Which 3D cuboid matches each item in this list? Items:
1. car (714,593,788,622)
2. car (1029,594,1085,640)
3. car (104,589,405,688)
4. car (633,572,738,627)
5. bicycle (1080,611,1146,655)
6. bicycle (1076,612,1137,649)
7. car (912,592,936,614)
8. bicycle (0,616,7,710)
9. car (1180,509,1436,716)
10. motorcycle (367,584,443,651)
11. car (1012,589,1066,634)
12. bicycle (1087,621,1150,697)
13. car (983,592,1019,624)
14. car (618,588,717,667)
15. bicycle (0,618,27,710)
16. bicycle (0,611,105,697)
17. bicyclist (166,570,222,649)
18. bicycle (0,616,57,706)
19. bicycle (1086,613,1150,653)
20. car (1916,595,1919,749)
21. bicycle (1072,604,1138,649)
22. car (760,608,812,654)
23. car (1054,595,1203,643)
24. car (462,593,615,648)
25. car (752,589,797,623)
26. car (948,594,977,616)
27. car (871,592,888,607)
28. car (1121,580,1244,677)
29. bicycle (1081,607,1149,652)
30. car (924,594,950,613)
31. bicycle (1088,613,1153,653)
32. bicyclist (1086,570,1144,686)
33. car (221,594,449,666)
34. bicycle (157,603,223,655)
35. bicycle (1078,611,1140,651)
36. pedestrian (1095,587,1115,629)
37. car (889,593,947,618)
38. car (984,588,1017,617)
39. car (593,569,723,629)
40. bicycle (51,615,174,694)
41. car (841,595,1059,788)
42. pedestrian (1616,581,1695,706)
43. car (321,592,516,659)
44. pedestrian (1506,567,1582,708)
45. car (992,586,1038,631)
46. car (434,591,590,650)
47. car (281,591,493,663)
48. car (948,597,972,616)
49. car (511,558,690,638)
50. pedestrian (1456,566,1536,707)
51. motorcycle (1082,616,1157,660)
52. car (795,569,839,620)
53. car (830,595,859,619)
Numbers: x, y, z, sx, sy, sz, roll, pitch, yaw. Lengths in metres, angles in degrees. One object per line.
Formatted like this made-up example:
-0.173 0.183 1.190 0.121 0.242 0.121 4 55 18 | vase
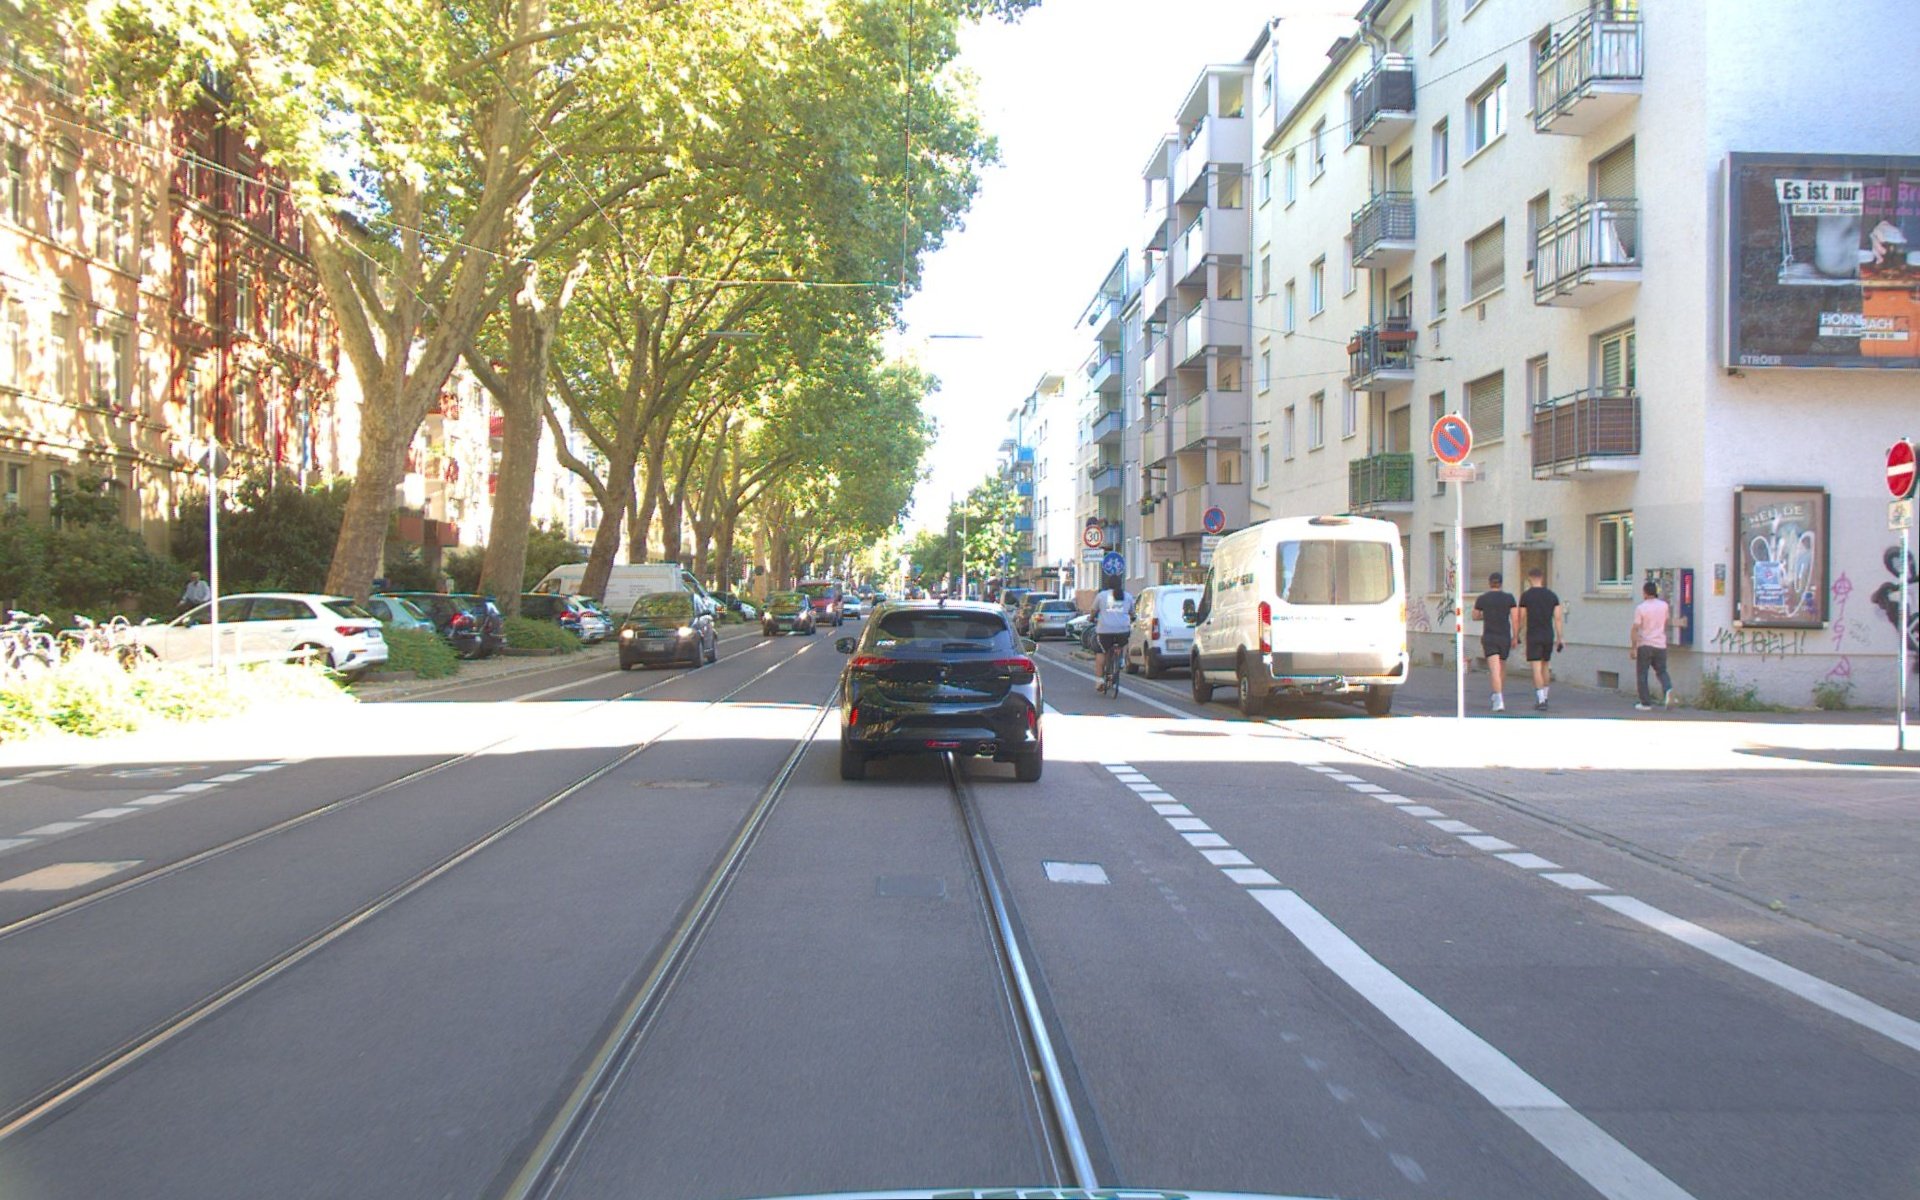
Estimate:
-11.500 0.392 91.241 3.908 1.548 1.770 0 0 -4 | car
3.400 0.571 58.818 1.689 1.552 4.512 0 0 -1 | car
-10.976 0.598 25.957 3.907 1.486 1.877 0 -1 -3 | car
-13.217 -0.026 79.835 4.847 2.612 2.080 0 0 -6 | car
3.954 0.856 42.815 1.619 1.073 0.457 -2 0 -3 | bicycle
4.061 0.845 45.812 1.619 0.983 0.457 -2 0 -3 | bicycle
-2.770 0.233 128.406 1.820 1.680 3.999 0 0 -1 | car
-12.067 0.736 19.597 1.525 1.107 0.397 0 0 16 | bicycle
4.727 0.161 23.539 2.106 2.539 6.085 1 0 -3 | car
-14.543 0.446 43.469 1.031 1.659 3.010 2 -1 -2 | motorcycle
3.099 0.427 65.441 1.731 1.734 4.280 0 0 -3 | car
2.475 0.902 26.039 0.687 1.111 1.989 2 -1 -3 | bicycle
2.238 0.425 91.262 1.820 1.680 3.999 0 0 -1 | car
-5.971 0.539 34.076 1.603 1.536 3.689 0 0 -4 | car
-12.303 0.777 20.435 1.525 1.107 0.397 0 0 16 | bicycle
-12.485 0.711 22.200 1.878 1.107 0.598 0 0 16 | bicycle
-17.703 0.208 38.228 0.814 1.794 1.048 0 0 -3 | bicyclist
-12.204 0.753 20.921 1.525 1.107 0.397 0 0 16 | bicycle
4.182 0.864 43.900 1.619 1.004 0.457 -2 0 -3 | bicycle
11.782 0.782 16.389 3.575 1.601 1.790 1 1 0 | car
4.050 0.735 46.289 1.787 1.212 0.457 -2 0 -3 | bicycle
-6.169 1.083 58.945 1.684 1.536 3.720 0 0 -4 | car
5.501 0.605 54.170 4.534 1.462 1.858 -1 0 -14 | car
-11.979 0.567 47.168 3.906 1.522 1.830 0 0 -2 | car
-9.678 0.301 86.572 1.953 1.730 4.482 -1 0 -2 | car
0.168 0.342 123.458 1.685 1.601 4.079 0 0 -6 | car
-8.785 -0.045 181.562 1.714 1.680 3.999 0 0 -1 | car
4.473 0.536 33.865 1.821 1.852 4.349 0 0 -2 | car
4.167 0.789 44.589 1.757 1.168 0.704 -2 0 1 | bicycle
-2.067 0.302 147.981 1.955 1.668 3.995 0 0 -6 | car
4.208 0.865 43.363 1.619 1.004 0.457 -2 0 -3 | bicycle
2.434 0.436 26.031 0.771 1.790 0.914 1 0 -3 | bicyclist
-12.388 0.579 32.925 3.905 1.393 1.605 0 0 -1 | car
-17.743 0.657 38.154 0.727 1.158 1.779 0 0 -2 | bicycle
4.068 0.842 45.289 1.619 1.038 0.457 -2 0 -3 | bicycle
6.038 0.326 68.953 0.741 1.750 0.719 0 0 -4 | pedestrian
-2.863 0.368 113.213 3.907 1.680 1.864 0 0 -3 | car
2.420 0.158 98.865 1.820 1.680 3.999 0 0 -1 | car
-12.969 -0.027 71.241 5.252 2.521 2.056 0 0 -2 | car
-11.983 0.757 23.366 1.765 1.061 0.597 0 0 25 | bicycle
-0.152 0.712 14.612 1.646 1.447 3.626 2 0 -3 | car
9.226 0.572 21.965 0.619 1.608 0.933 2 -1 0 | pedestrian
-12.408 0.577 38.027 3.905 1.486 1.704 0 0 -1 | car
7.906 0.503 22.418 0.612 1.854 1.082 -1 -1 0 | pedestrian
2.442 0.361 74.273 1.820 1.923 4.924 0 0 -1 | car
-12.034 0.529 44.545 3.716 1.486 1.704 1 0 -2 | car
-12.199 0.559 35.376 3.905 1.486 1.770 0 0 -1 | car
-0.011 0.497 129.191 1.684 1.516 3.679 0 0 -4 | car
-12.243 -0.079 56.648 5.625 2.580 2.162 1 0 -2 | car
7.250 0.482 22.406 0.695 1.854 1.082 -1 -1 -1 | pedestrian
4.046 0.965 41.859 1.781 1.099 0.617 -1 0 21 | motorcycle
-6.566 -0.247 76.267 1.879 2.266 4.956 0 0 -4 | car
-6.952 0.398 99.366 1.684 1.382 4.466 0 0 -4 | car
